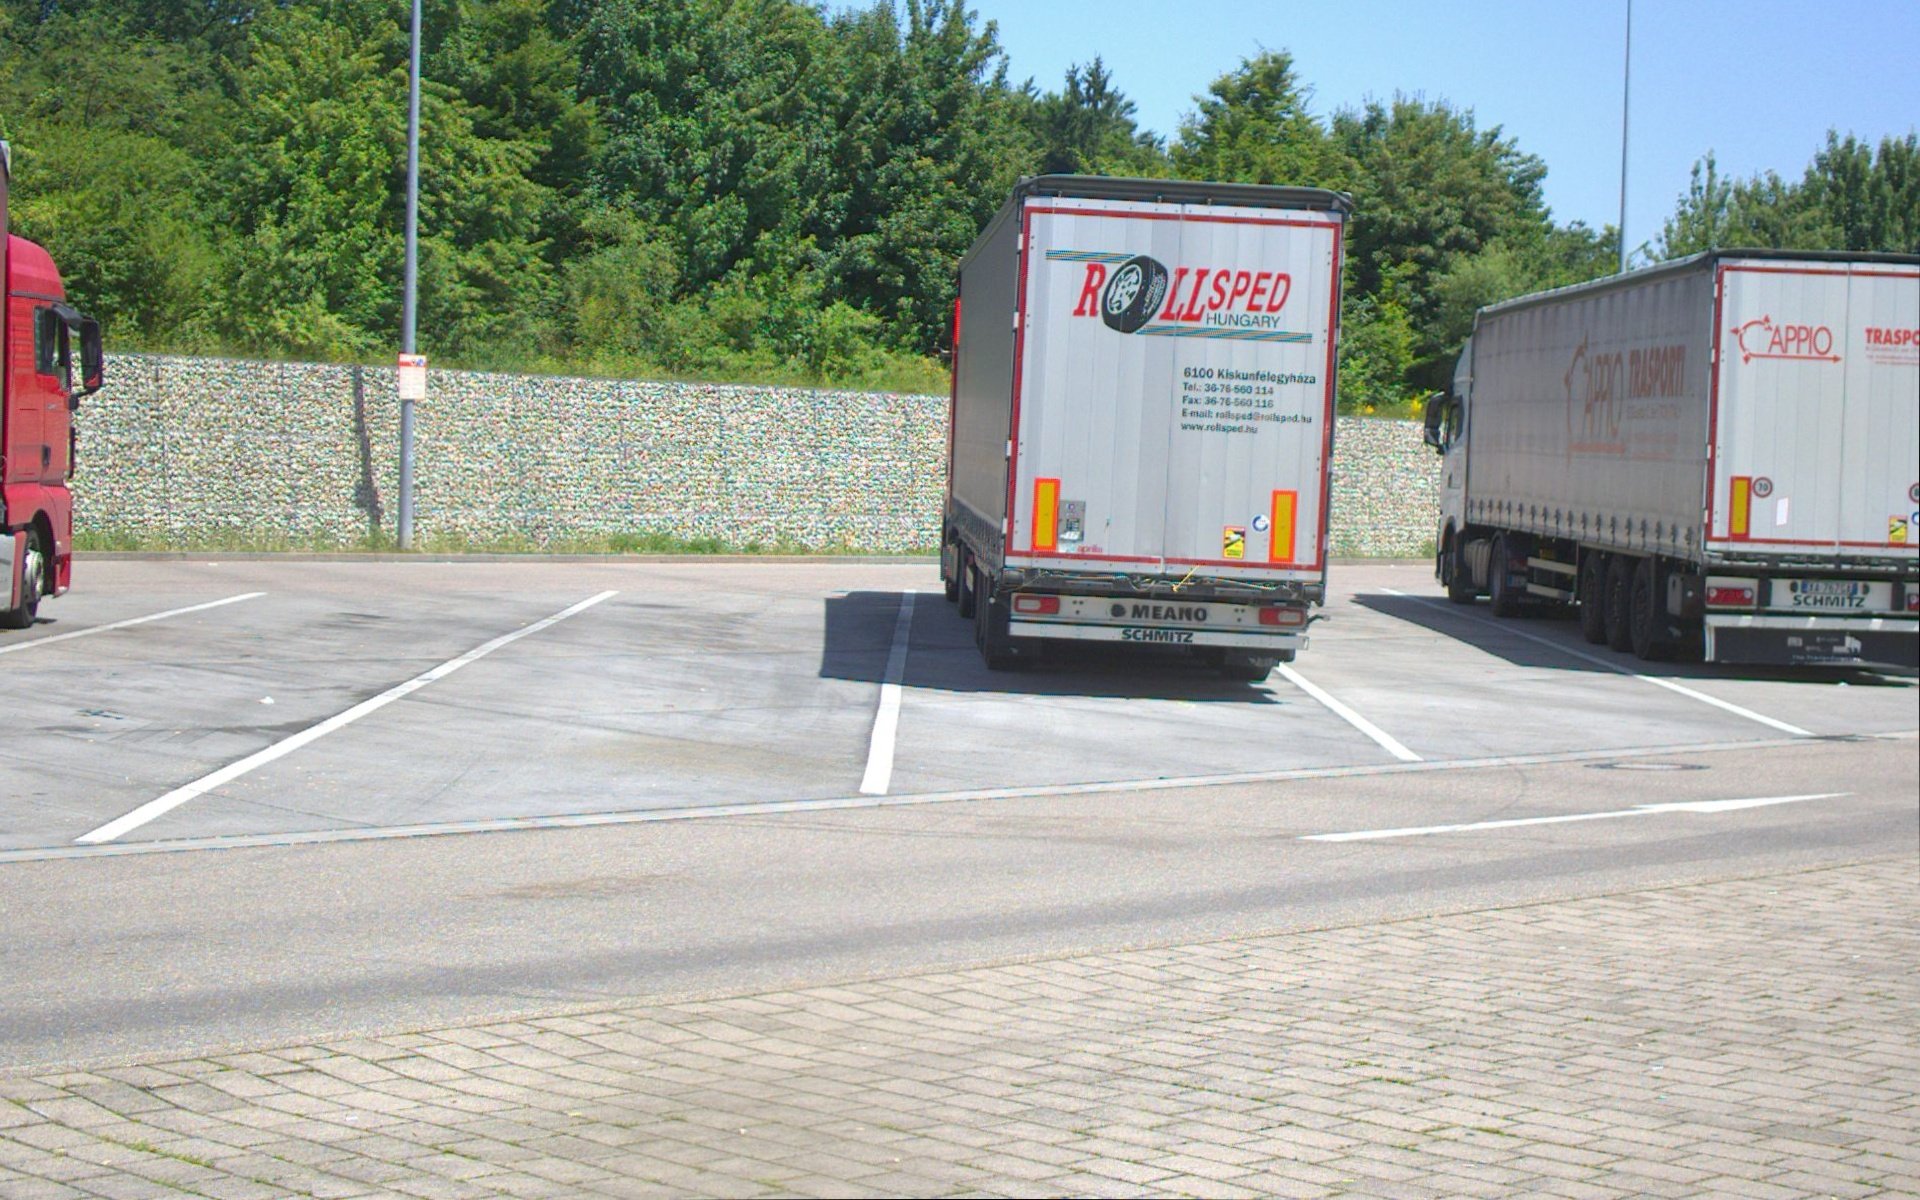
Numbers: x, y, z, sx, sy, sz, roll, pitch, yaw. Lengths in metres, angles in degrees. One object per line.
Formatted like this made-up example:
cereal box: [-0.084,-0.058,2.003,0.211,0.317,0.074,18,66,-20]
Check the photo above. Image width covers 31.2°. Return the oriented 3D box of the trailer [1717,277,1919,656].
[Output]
trailer: [11.791,-1.509,39.373,2.858,4.095,13.765,2,3,-1]

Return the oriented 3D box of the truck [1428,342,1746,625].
truck: [8.093,-1.574,45.127,2.865,3.351,5.975,2,3,-1]

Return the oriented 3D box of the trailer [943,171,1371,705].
trailer: [1.464,-1.571,33.108,2.858,3.958,13.765,2,3,-1]

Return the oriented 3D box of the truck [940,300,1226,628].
truck: [1.281,-1.577,39.310,2.865,3.351,5.975,2,3,-1]

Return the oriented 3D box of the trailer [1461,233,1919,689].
trailer: [8.194,-1.593,38.361,2.858,4.095,13.765,2,3,-1]

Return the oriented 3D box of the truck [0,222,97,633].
truck: [-9.248,-1.458,28.189,2.812,3.351,5.975,2,3,-1]

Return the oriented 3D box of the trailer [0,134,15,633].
trailer: [-9.162,-1.467,21.369,2.821,4.057,13.765,2,3,-1]
